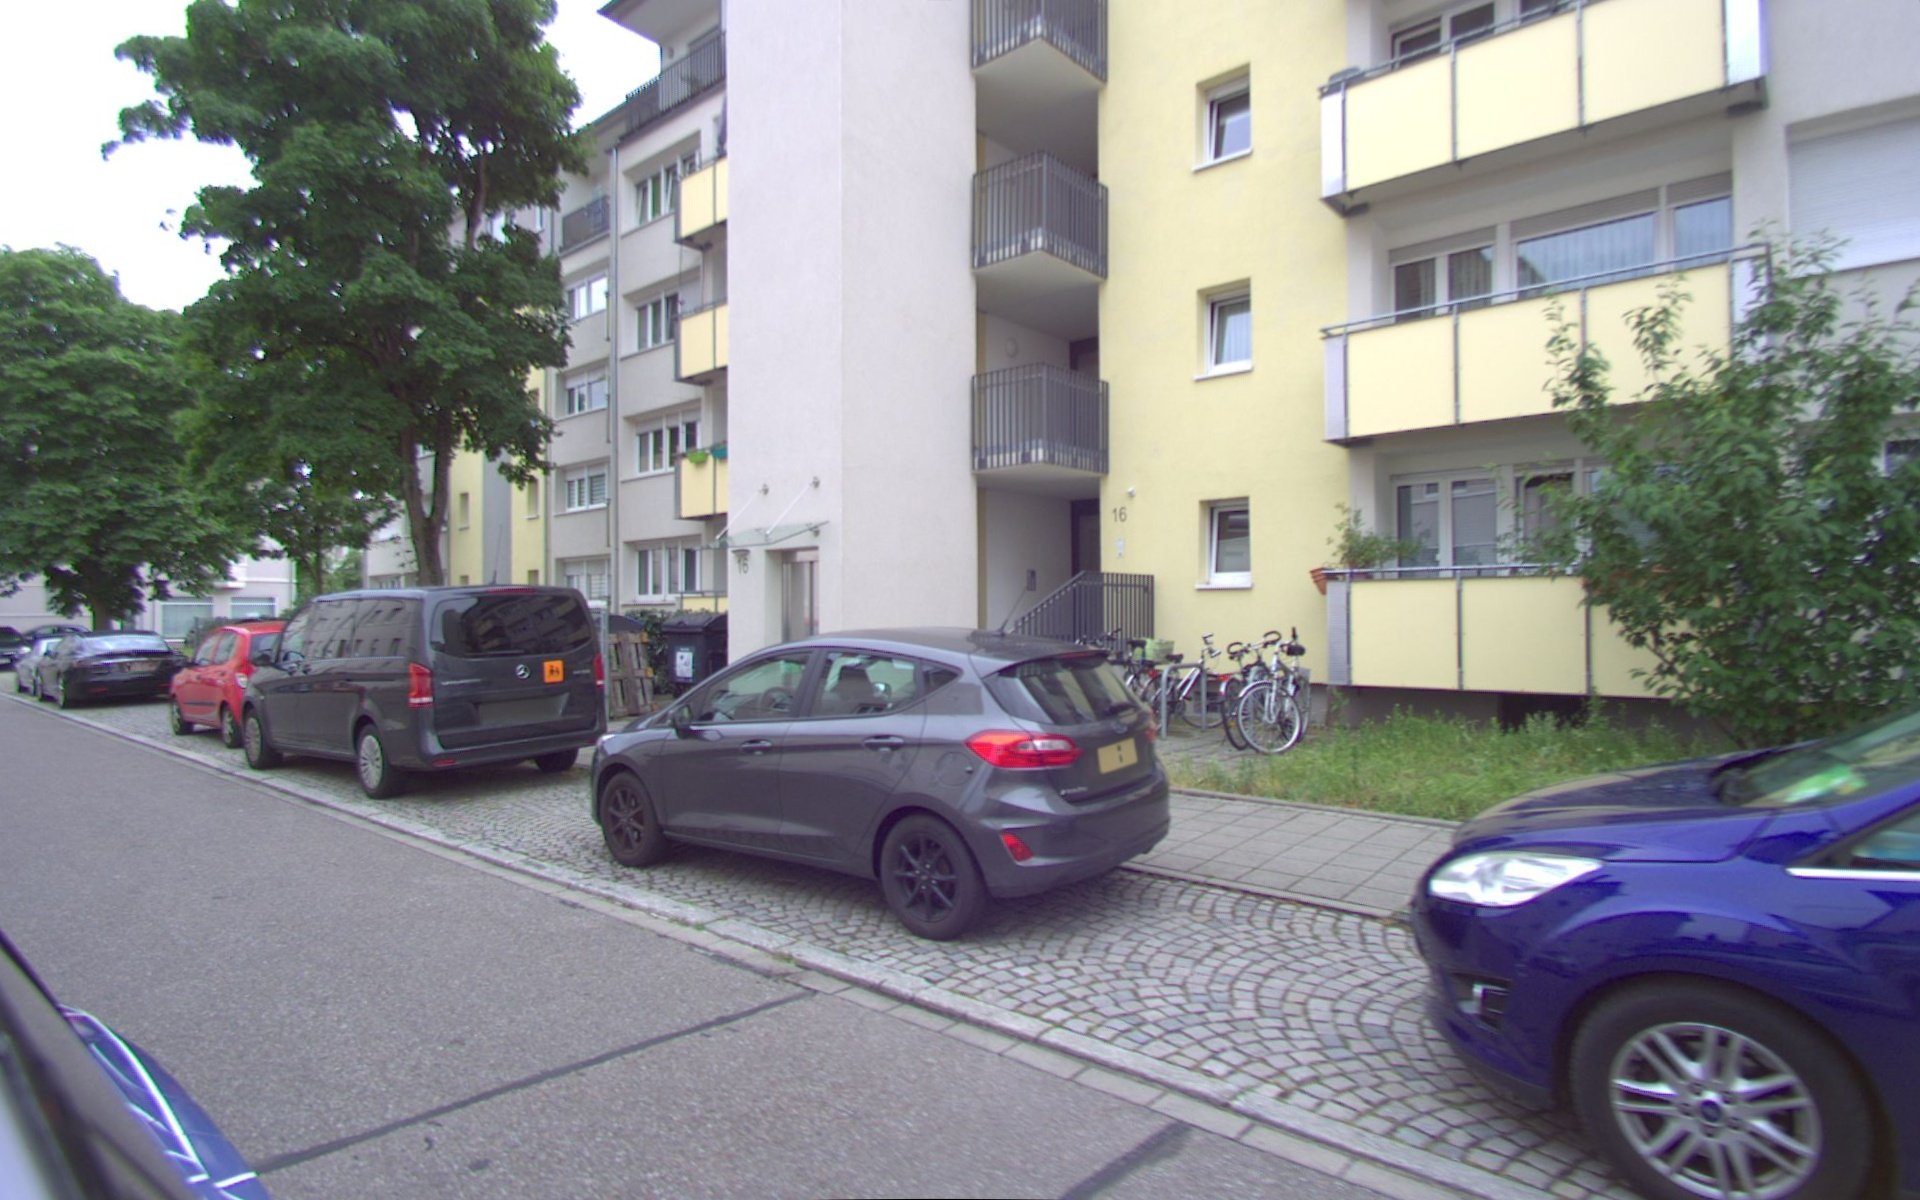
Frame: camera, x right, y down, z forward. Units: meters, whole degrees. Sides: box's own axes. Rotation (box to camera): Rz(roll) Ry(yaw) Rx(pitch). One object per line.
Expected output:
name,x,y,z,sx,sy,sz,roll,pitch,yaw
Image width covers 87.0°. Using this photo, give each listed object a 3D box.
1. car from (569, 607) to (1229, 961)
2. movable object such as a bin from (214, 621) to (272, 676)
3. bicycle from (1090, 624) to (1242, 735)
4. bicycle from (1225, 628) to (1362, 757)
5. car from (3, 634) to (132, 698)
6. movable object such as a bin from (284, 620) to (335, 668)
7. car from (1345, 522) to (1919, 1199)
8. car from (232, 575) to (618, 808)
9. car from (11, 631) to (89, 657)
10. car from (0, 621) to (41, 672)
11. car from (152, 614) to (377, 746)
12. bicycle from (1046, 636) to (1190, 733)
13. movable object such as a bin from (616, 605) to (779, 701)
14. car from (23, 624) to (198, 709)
car,-0.536,0.815,6.045,3.813,1.456,1.606,-2,0,38
movable object such as a bin,-20.259,1.355,28.603,0.889,1.487,1.168,-2,-2,44
bicycle,2.327,0.841,11.298,1.830,1.146,0.717,1,-2,-43
bicycle,3.343,0.857,10.042,0.715,1.146,1.834,-2,-2,38
car,-21.095,1.485,23.863,4.208,1.274,1.743,-1,0,41
movable object such as a bin,-20.401,1.368,31.750,0.889,1.487,1.168,-2,-2,44
car,3.436,0.618,2.251,4.469,1.639,1.781,-2,0,41
car,-5.648,0.789,10.393,4.782,1.869,1.867,-2,-2,40
car,-46.661,2.227,51.915,1.353,1.294,2.890,-2,-2,44
car,-32.091,1.547,33.523,4.208,1.587,1.974,-2,0,41
car,-9.606,1.011,13.896,3.610,1.580,1.605,-2,-2,39
bicycle,1.877,0.945,11.848,1.830,1.028,0.671,1,-2,-43
movable object such as a bin,-4.600,0.883,17.681,2.539,1.535,1.597,-1,-2,40
car,-17.097,1.259,20.294,4.430,1.450,1.895,-2,0,39
